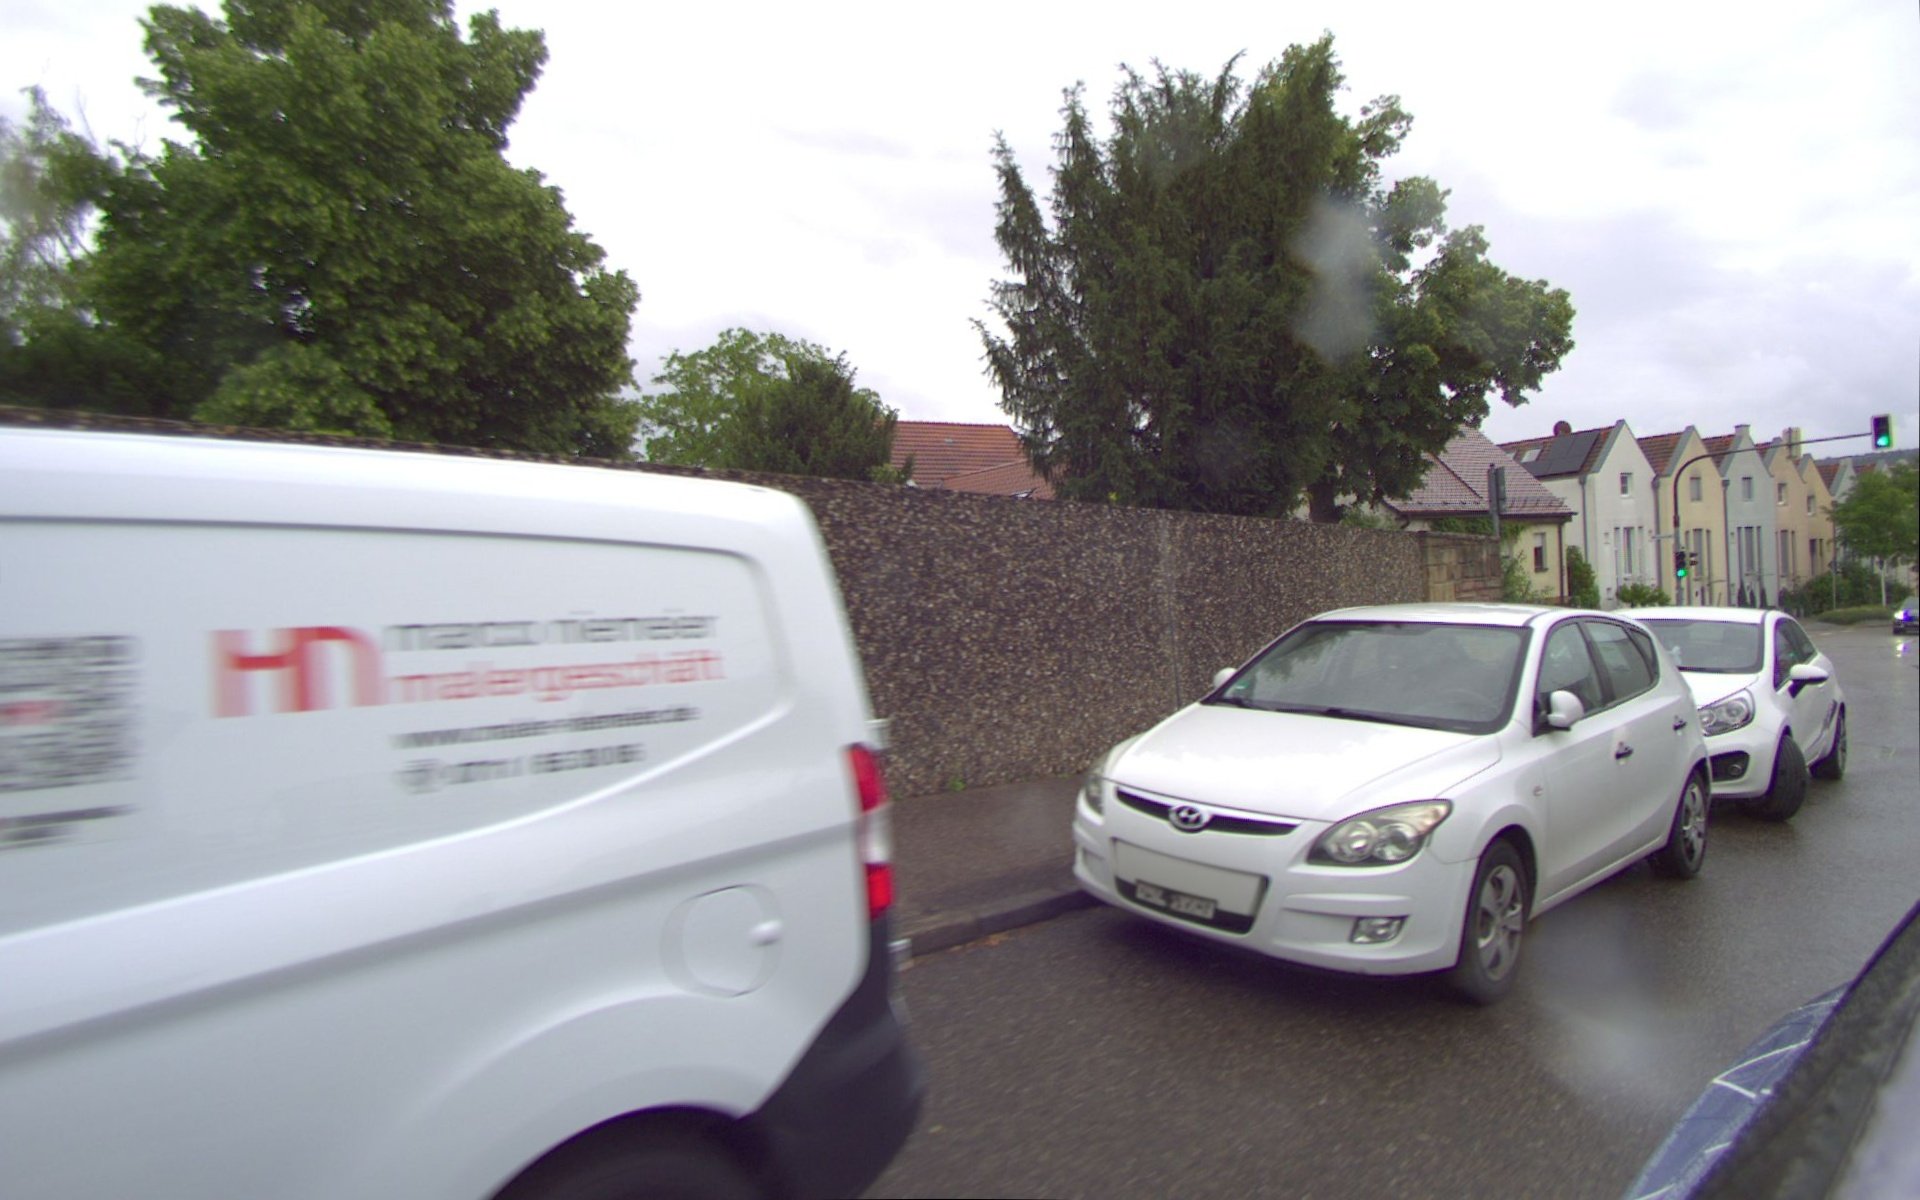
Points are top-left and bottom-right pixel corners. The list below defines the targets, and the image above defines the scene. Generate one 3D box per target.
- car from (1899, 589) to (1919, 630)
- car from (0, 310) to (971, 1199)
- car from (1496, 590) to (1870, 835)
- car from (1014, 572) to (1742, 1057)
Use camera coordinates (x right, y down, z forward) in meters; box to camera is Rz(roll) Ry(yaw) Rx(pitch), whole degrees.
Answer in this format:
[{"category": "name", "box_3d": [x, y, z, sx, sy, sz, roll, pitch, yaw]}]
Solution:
[{"category": "car", "box_3d": [39.804, 0.350, 41.121, 3.931, 1.549, 1.996, -2, 0, -41]}, {"category": "car", "box_3d": [-2.065, 0.570, 1.353, 4.061, 1.763, 1.640, 1, -2, -39]}, {"category": "car", "box_3d": [5.991, 0.695, 8.199, 3.969, 1.499, 1.614, -1, -1, -42]}, {"category": "car", "box_3d": [2.273, 0.692, 5.003, 3.928, 1.481, 1.649, 1, -2, -39]}]
